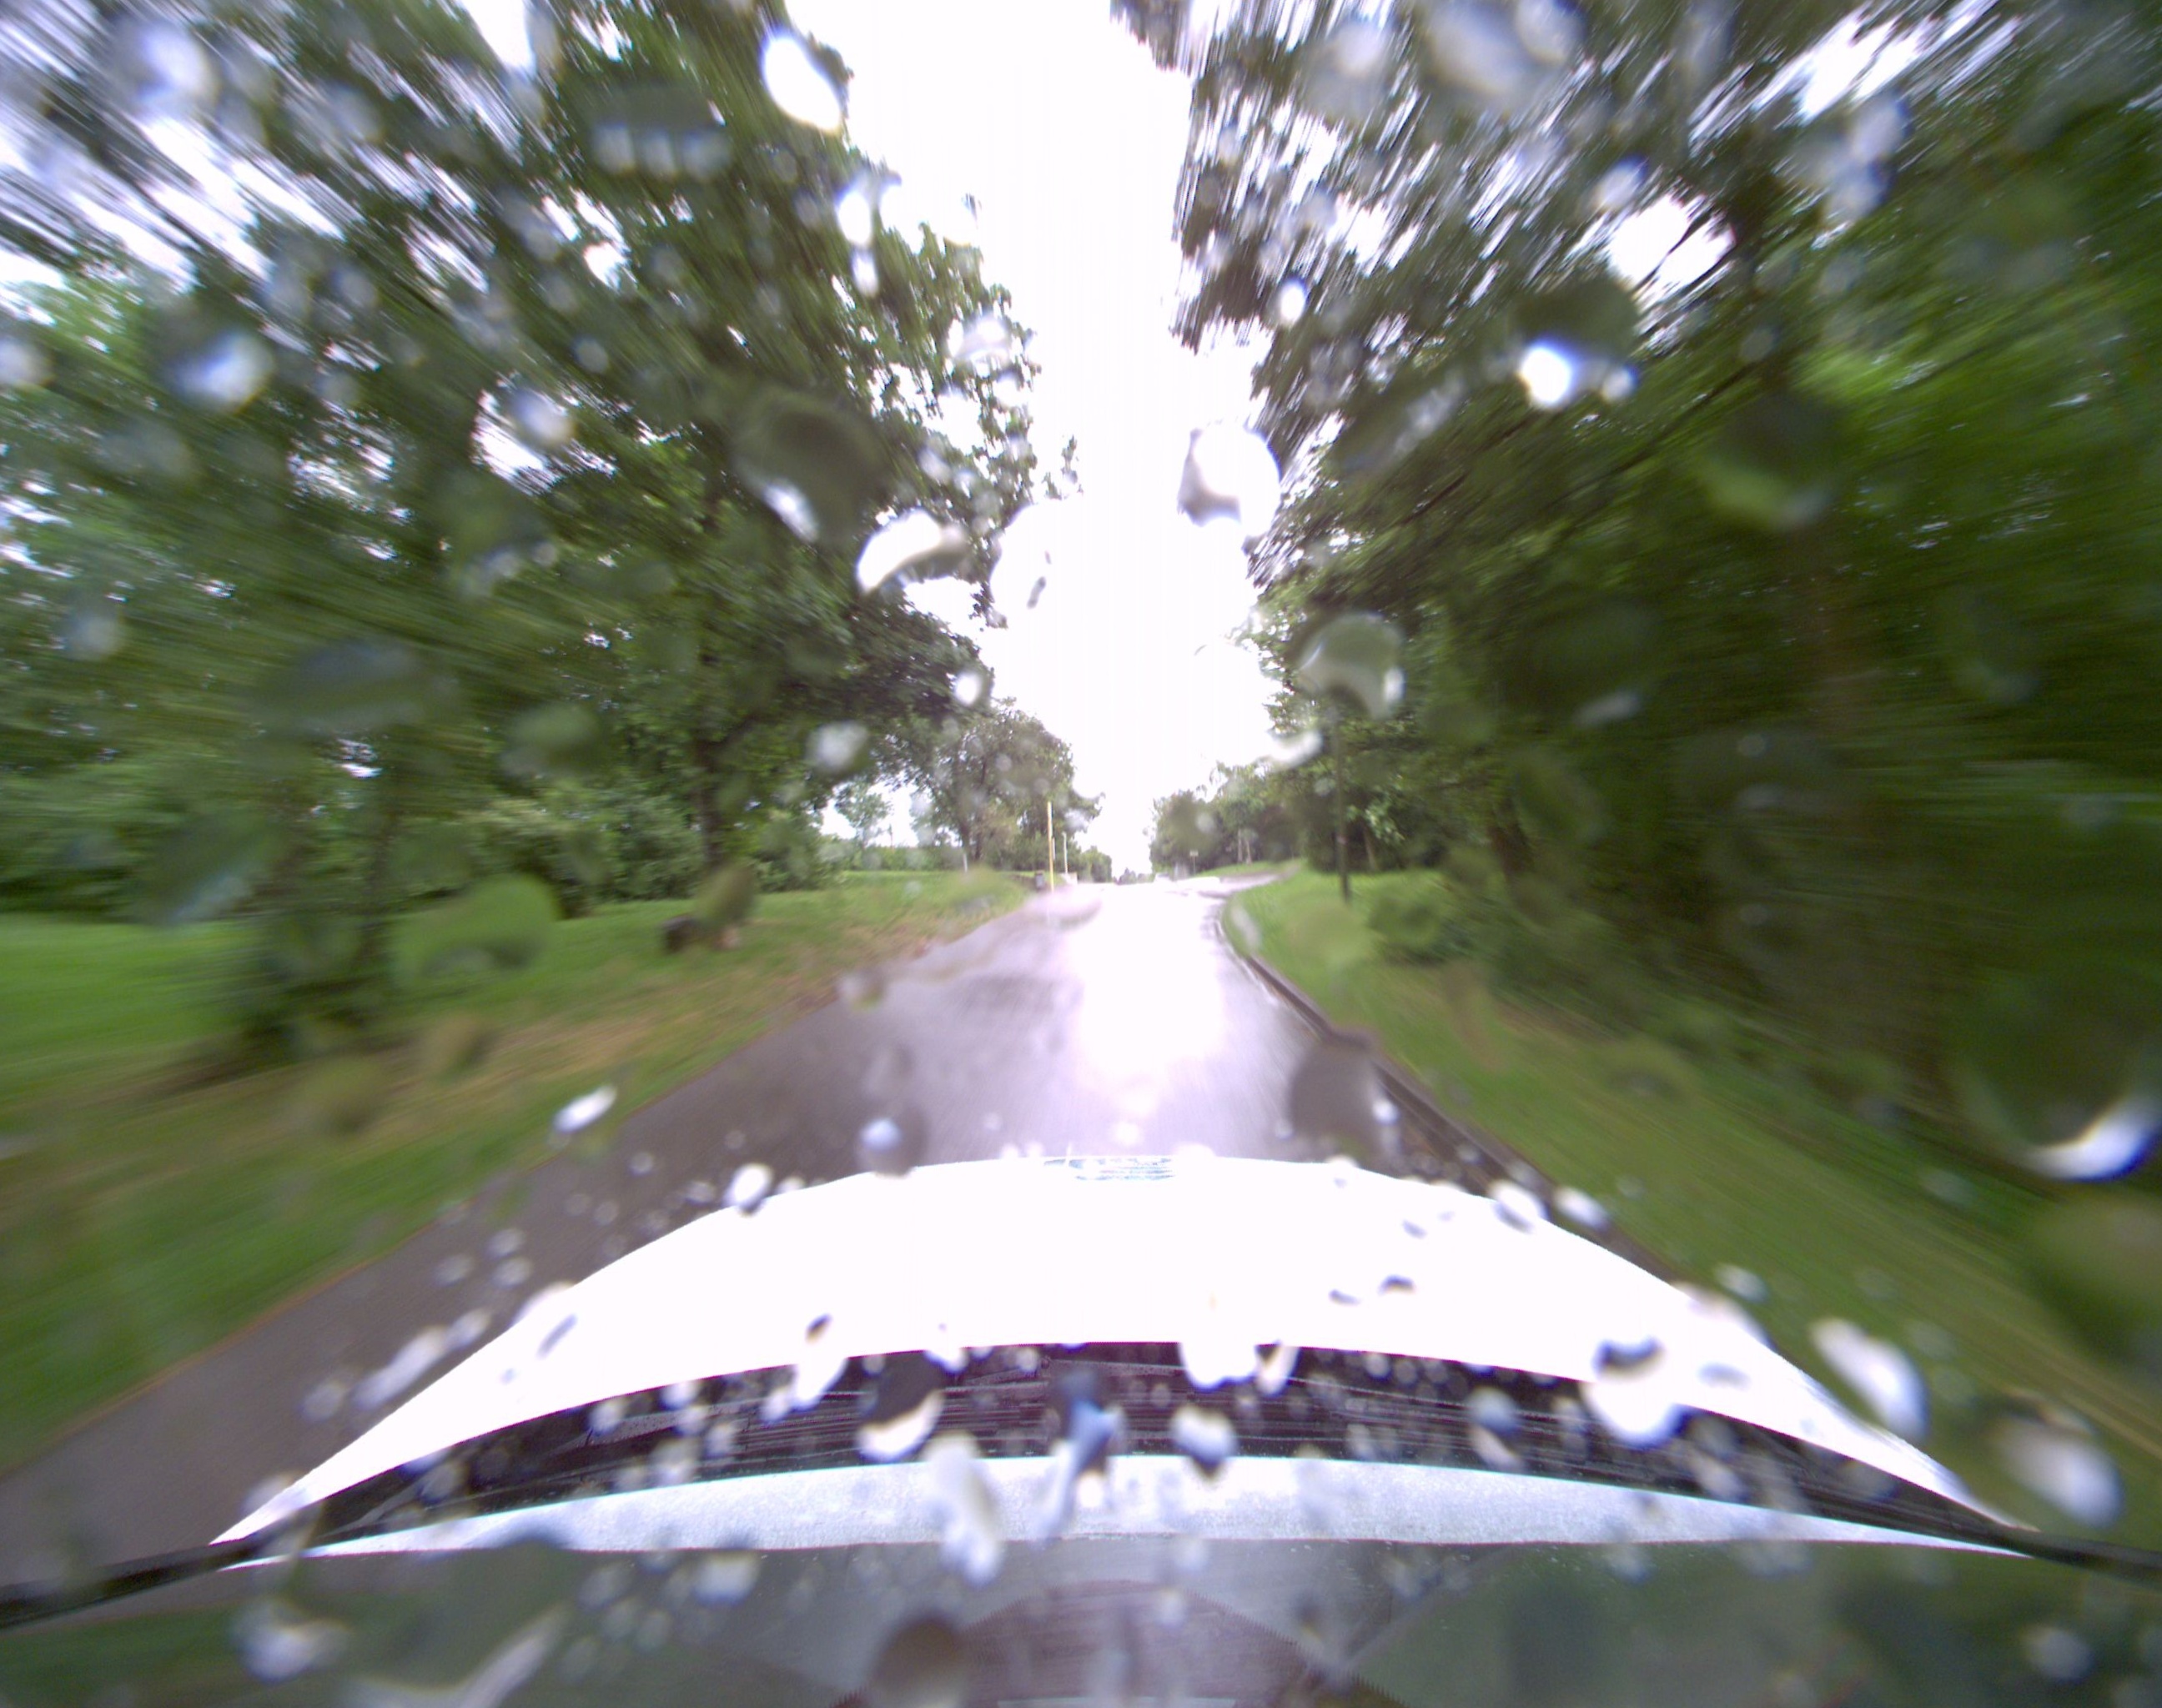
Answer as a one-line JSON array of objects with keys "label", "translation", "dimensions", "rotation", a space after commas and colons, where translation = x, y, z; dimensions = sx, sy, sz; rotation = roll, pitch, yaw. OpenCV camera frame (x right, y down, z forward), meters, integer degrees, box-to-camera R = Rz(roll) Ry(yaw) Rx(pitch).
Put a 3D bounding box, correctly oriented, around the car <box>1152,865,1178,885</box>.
[{"label": "car", "translation": [7.744, 1.916, 74.711], "dimensions": [1.982, 1.583, 4.009], "rotation": [-4, -4, 9]}]
